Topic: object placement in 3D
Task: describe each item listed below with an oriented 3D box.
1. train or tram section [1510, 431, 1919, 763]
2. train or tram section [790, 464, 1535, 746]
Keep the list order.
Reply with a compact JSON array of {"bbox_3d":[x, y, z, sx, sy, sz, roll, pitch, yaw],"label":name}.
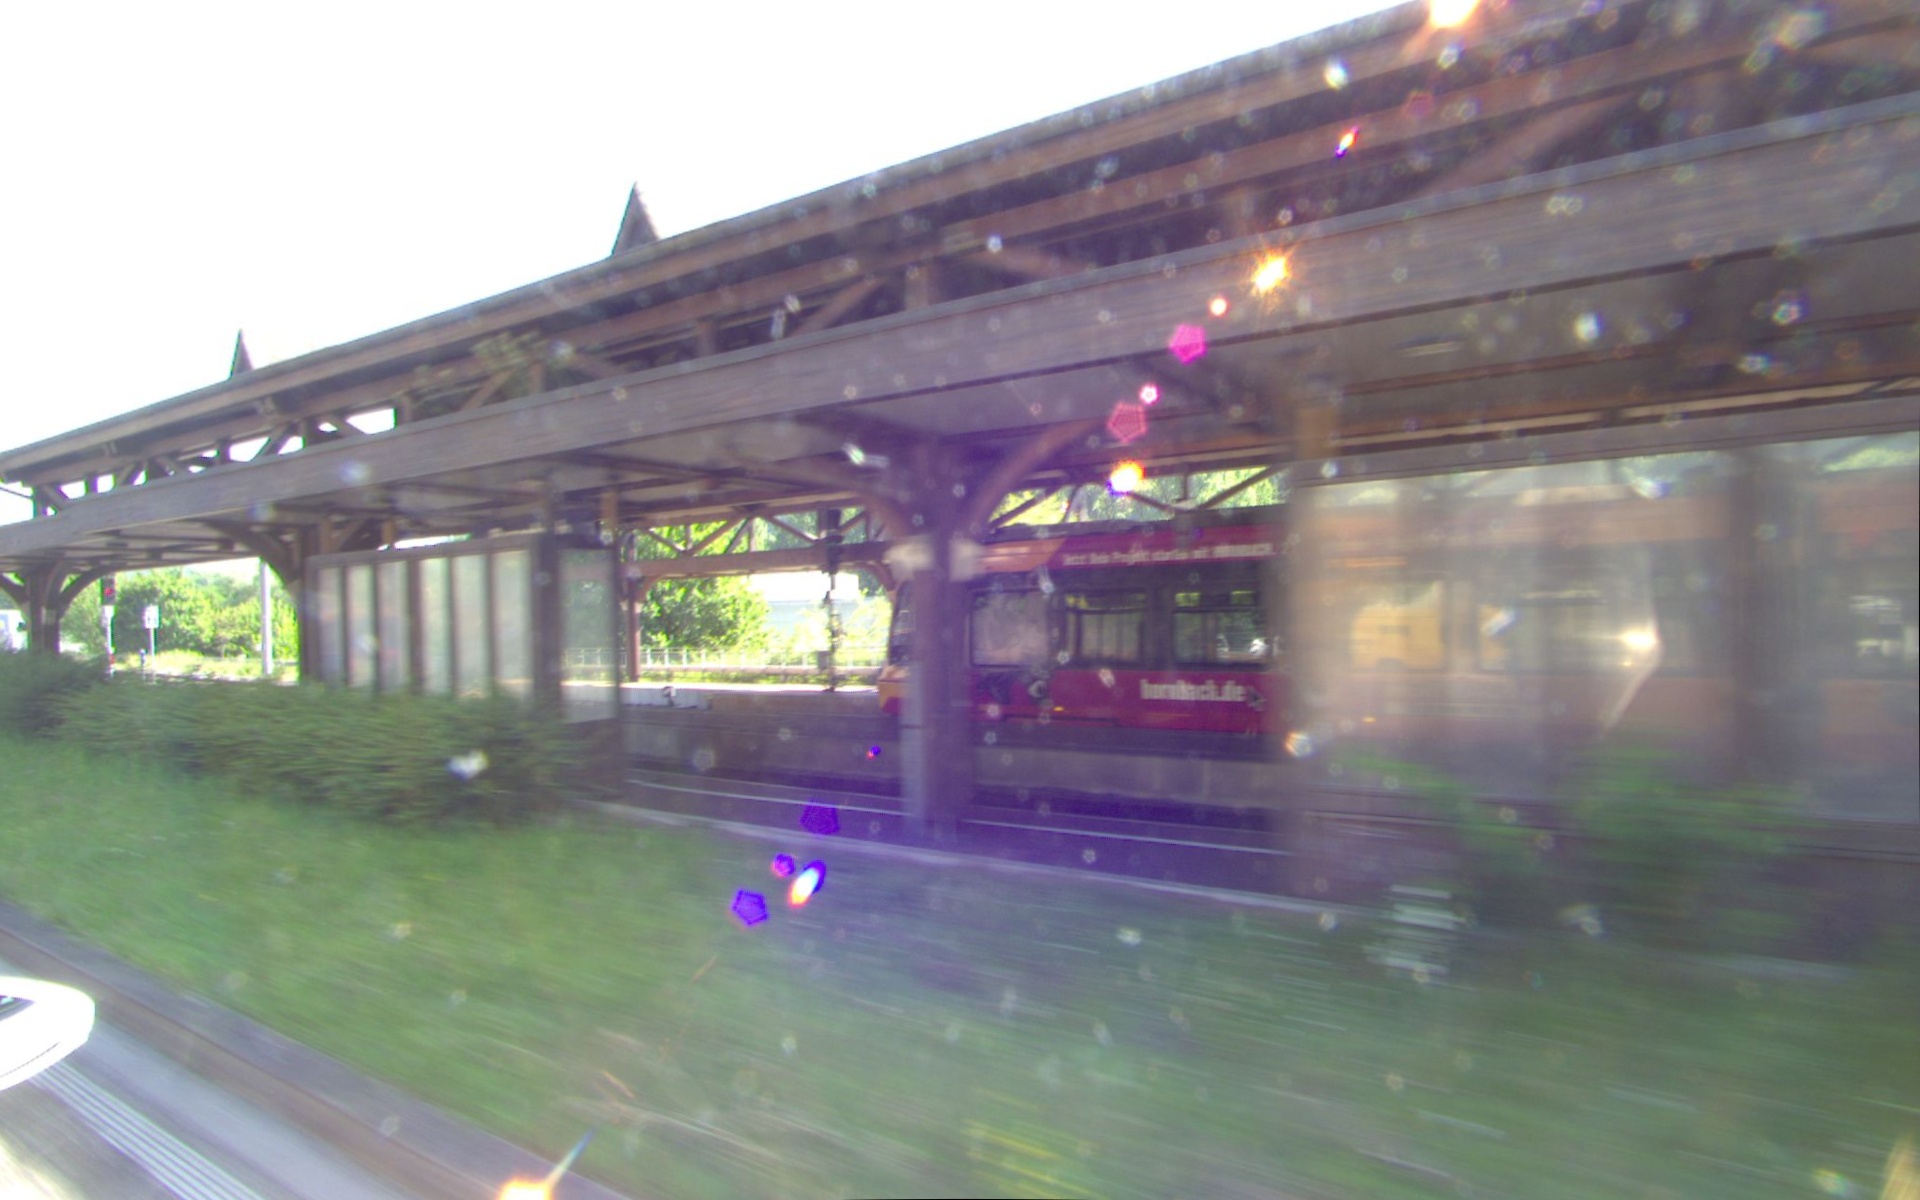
[{"bbox_3d":[12.475,-0.032,10.263,11.875,3.407,2.782,-1,-2,32],"label":"train or tram section"},{"bbox_3d":[2.572,0.123,16.511,11.877,3.407,2.751,0,-2,33],"label":"train or tram section"}]
